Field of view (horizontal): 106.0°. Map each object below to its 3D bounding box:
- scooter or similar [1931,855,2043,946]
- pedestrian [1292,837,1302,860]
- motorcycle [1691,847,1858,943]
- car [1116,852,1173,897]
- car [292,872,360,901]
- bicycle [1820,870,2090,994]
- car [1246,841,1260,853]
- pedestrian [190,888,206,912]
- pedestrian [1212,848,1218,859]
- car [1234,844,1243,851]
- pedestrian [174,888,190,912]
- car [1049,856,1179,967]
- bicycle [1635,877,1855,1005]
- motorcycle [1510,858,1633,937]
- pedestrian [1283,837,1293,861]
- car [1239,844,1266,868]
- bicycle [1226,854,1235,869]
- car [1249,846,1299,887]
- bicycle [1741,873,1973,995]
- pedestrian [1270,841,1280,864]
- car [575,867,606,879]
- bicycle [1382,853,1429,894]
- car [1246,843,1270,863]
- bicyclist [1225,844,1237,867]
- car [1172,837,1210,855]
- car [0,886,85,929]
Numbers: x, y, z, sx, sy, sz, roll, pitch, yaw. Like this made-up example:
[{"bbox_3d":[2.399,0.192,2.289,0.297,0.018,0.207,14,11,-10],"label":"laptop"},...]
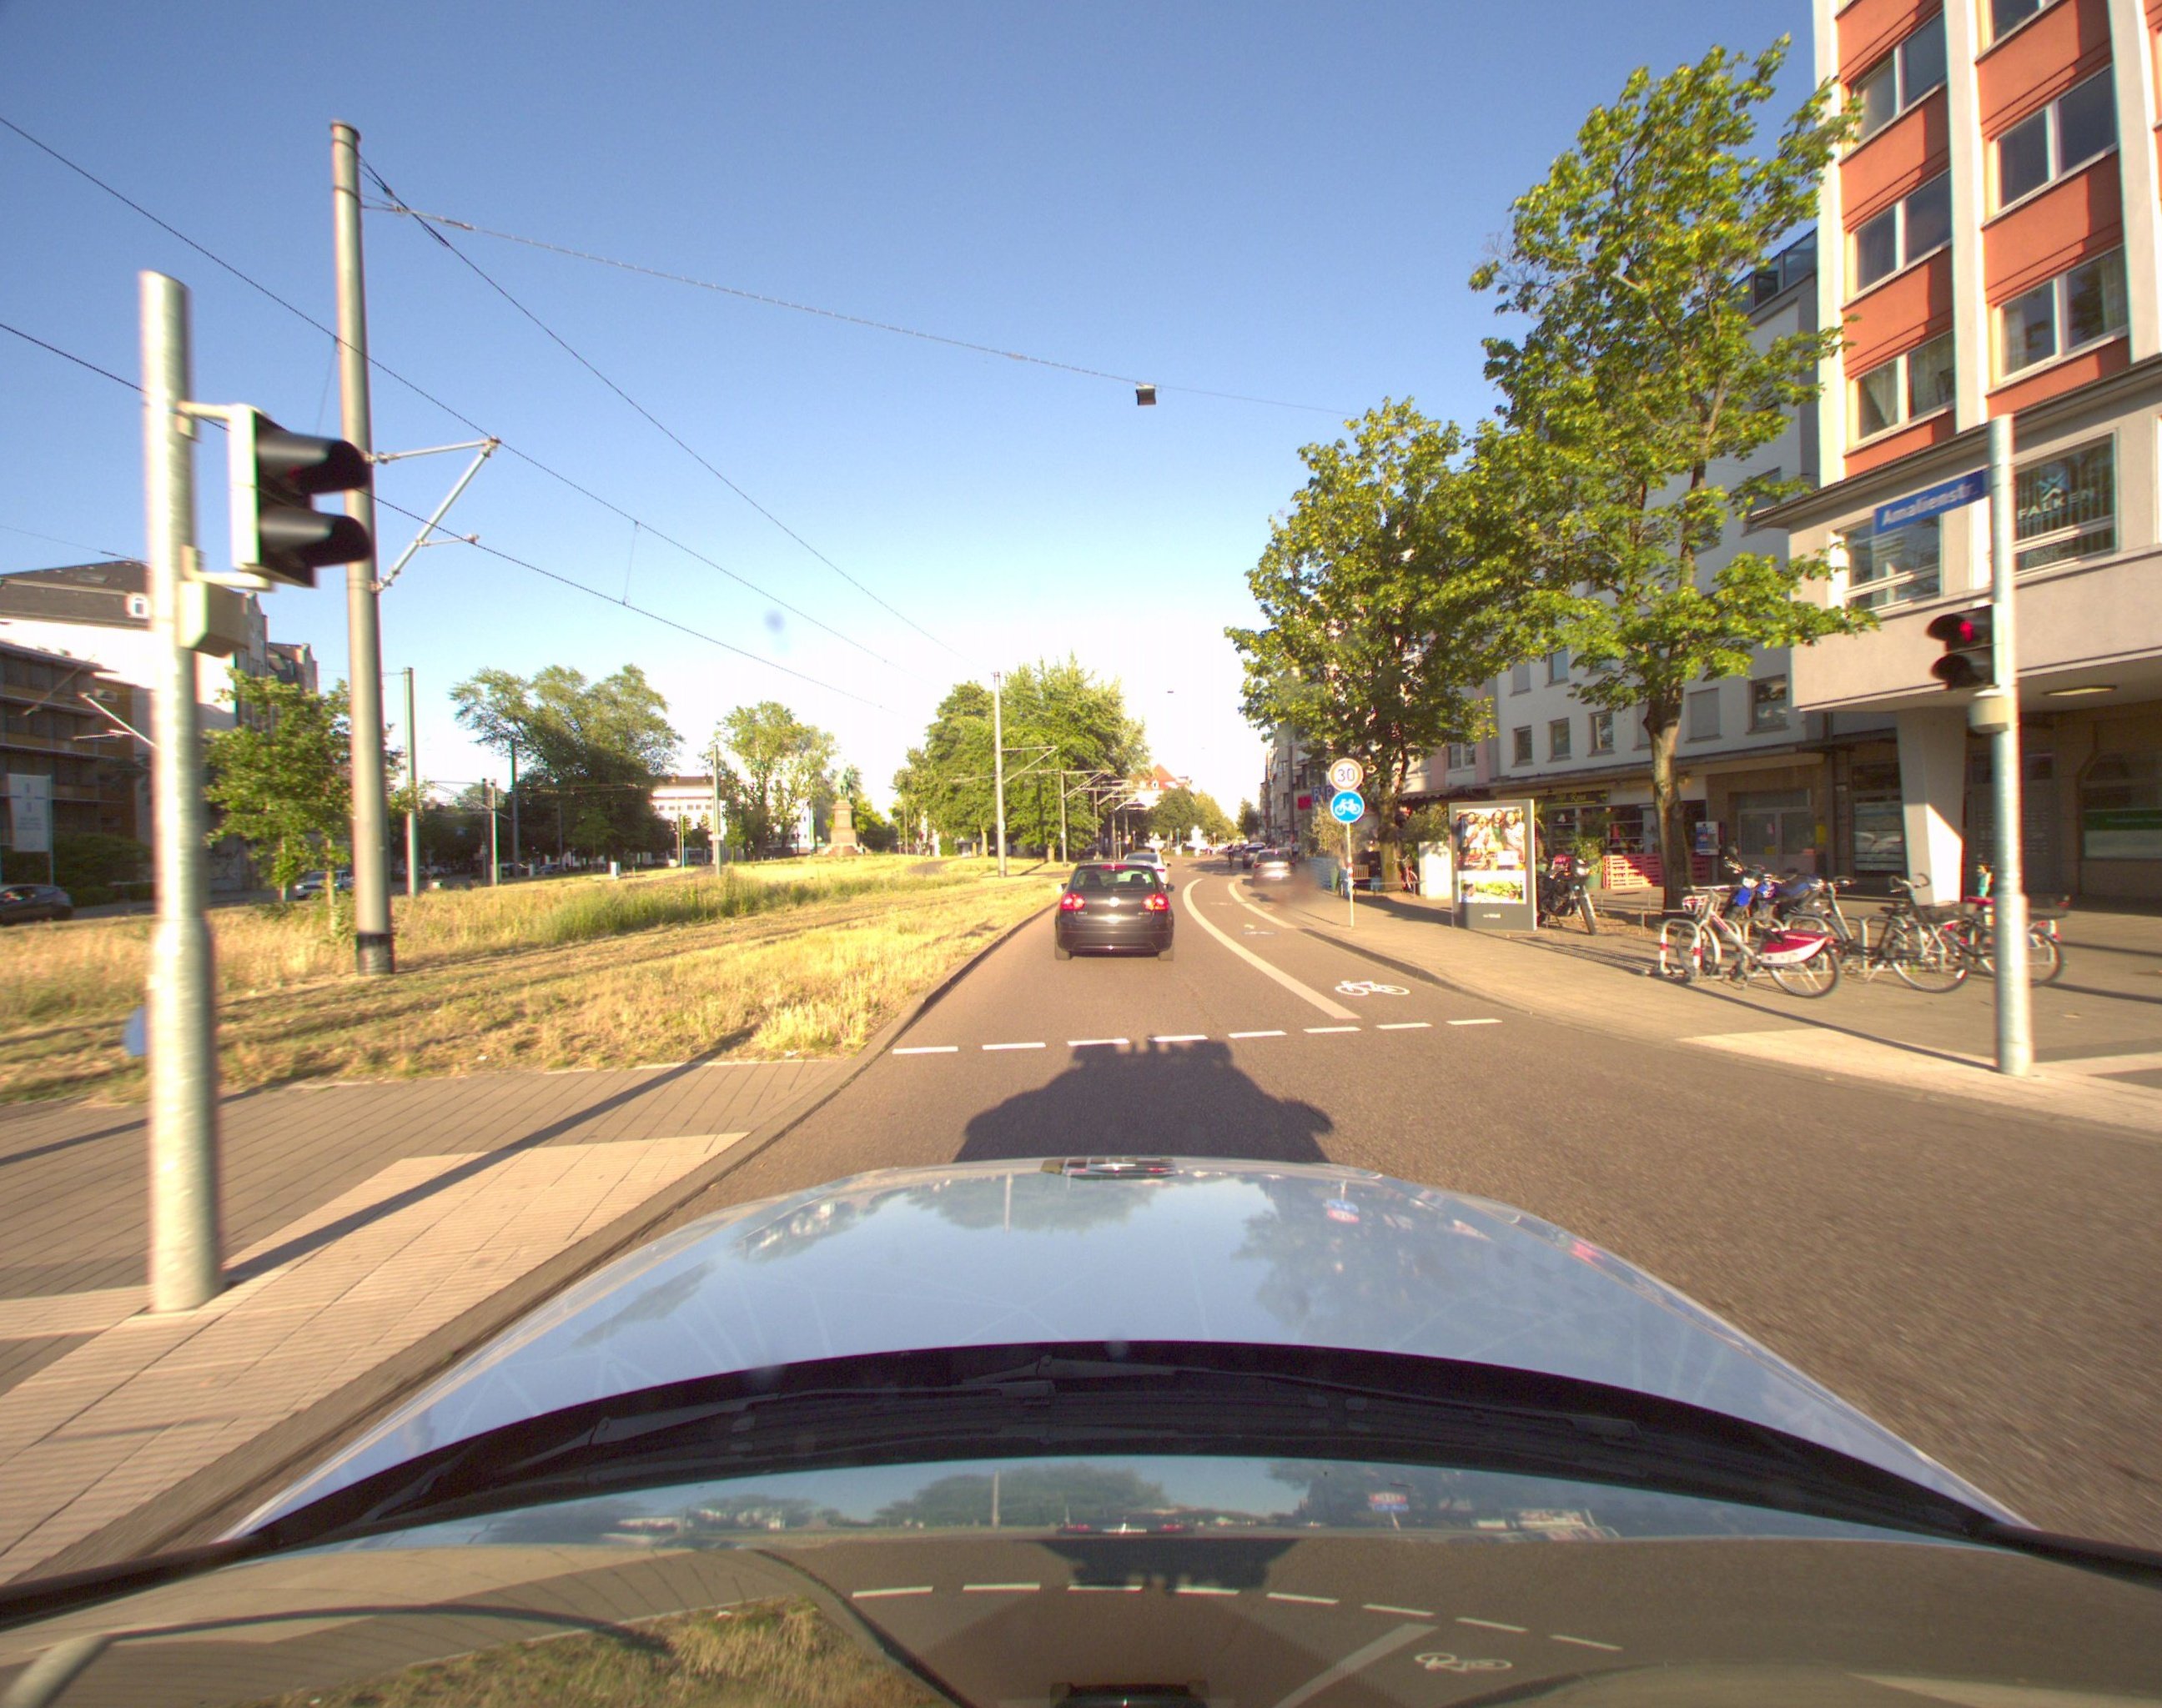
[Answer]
[{"bbox_3d":[13.249,0.655,11.946,0.413,1.254,1.185,-1,0,8],"label":"scooter or similar"},{"bbox_3d":[16.940,-0.432,64.013,0.618,1.740,0.664,-4,-1,13],"label":"pedestrian"},{"bbox_3d":[10.788,0.615,12.709,2.040,1.406,0.759,-1,0,-5],"label":"motorcycle"},{"bbox_3d":[2.265,0.674,29.099,1.856,1.441,4.202,-1,0,4],"label":"car"},{"bbox_3d":[-44.086,1.859,47.650,1.780,1.482,4.271,-2,1,-27],"label":"car"},{"bbox_3d":[9.910,0.816,9.388,0.645,1.157,2.117,-2,1,-10],"label":"bicycle"},{"bbox_3d":[26.987,-1.063,127.700,1.912,1.841,4.032,-3,0,13],"label":"car"},{"bbox_3d":[-54.510,2.821,50.267,0.414,1.430,0.483,-2,0,-12],"label":"pedestrian"},{"bbox_3d":[17.926,-0.070,109.226,0.732,1.555,0.633,-1,0,8],"label":"pedestrian"},{"bbox_3d":[35.075,-1.428,181.761,1.894,1.552,4.013,-2,0,11],"label":"car"},{"bbox_3d":[-55.209,2.826,50.014,0.414,1.430,0.483,-2,0,-12],"label":"pedestrian"},{"bbox_3d":[0.592,0.787,13.138,1.740,1.461,4.108,-1,0,4],"label":"car"},{"bbox_3d":[7.047,0.859,8.784,0.645,1.126,1.867,-2,1,-10],"label":"bicycle"},{"bbox_3d":[8.563,0.711,14.355,0.665,1.242,2.197,-1,0,-5],"label":"motorcycle"},{"bbox_3d":[16.293,-0.413,64.186,0.618,1.858,0.664,-4,-1,13],"label":"pedestrian"},{"bbox_3d":[12.248,0.136,58.093,1.770,1.556,4.249,-4,0,12],"label":"car"},{"bbox_3d":[10.693,0.520,58.079,0.575,0.987,1.942,0,0,11],"label":"bicycle"},{"bbox_3d":[7.752,0.473,33.001,1.717,1.472,3.911,-4,0,11],"label":"car"},{"bbox_3d":[8.621,0.827,9.173,0.645,1.126,1.867,-2,1,-10],"label":"bicycle"},{"bbox_3d":[15.369,-0.101,64.527,0.574,1.760,0.664,-4,-1,13],"label":"pedestrian"},{"bbox_3d":[-61.644,2.357,102.485,1.542,1.354,3.525,-1,1,4],"label":"car"},{"bbox_3d":[9.676,0.560,24.315,0.420,1.157,1.749,-2,1,-10],"label":"bicycle"},{"bbox_3d":[16.092,-0.101,74.297,1.856,1.713,4.517,-4,0,10],"label":"car"},{"bbox_3d":[10.707,0.124,58.128,0.772,1.618,1.028,0,0,11],"label":"bicyclist"},{"bbox_3d":[17.367,-1.250,128.933,5.521,2.594,2.144,-1,0,-15],"label":"car"},{"bbox_3d":[-35.642,1.799,26.766,1.647,1.281,3.725,-2,0,-12],"label":"car"}]
